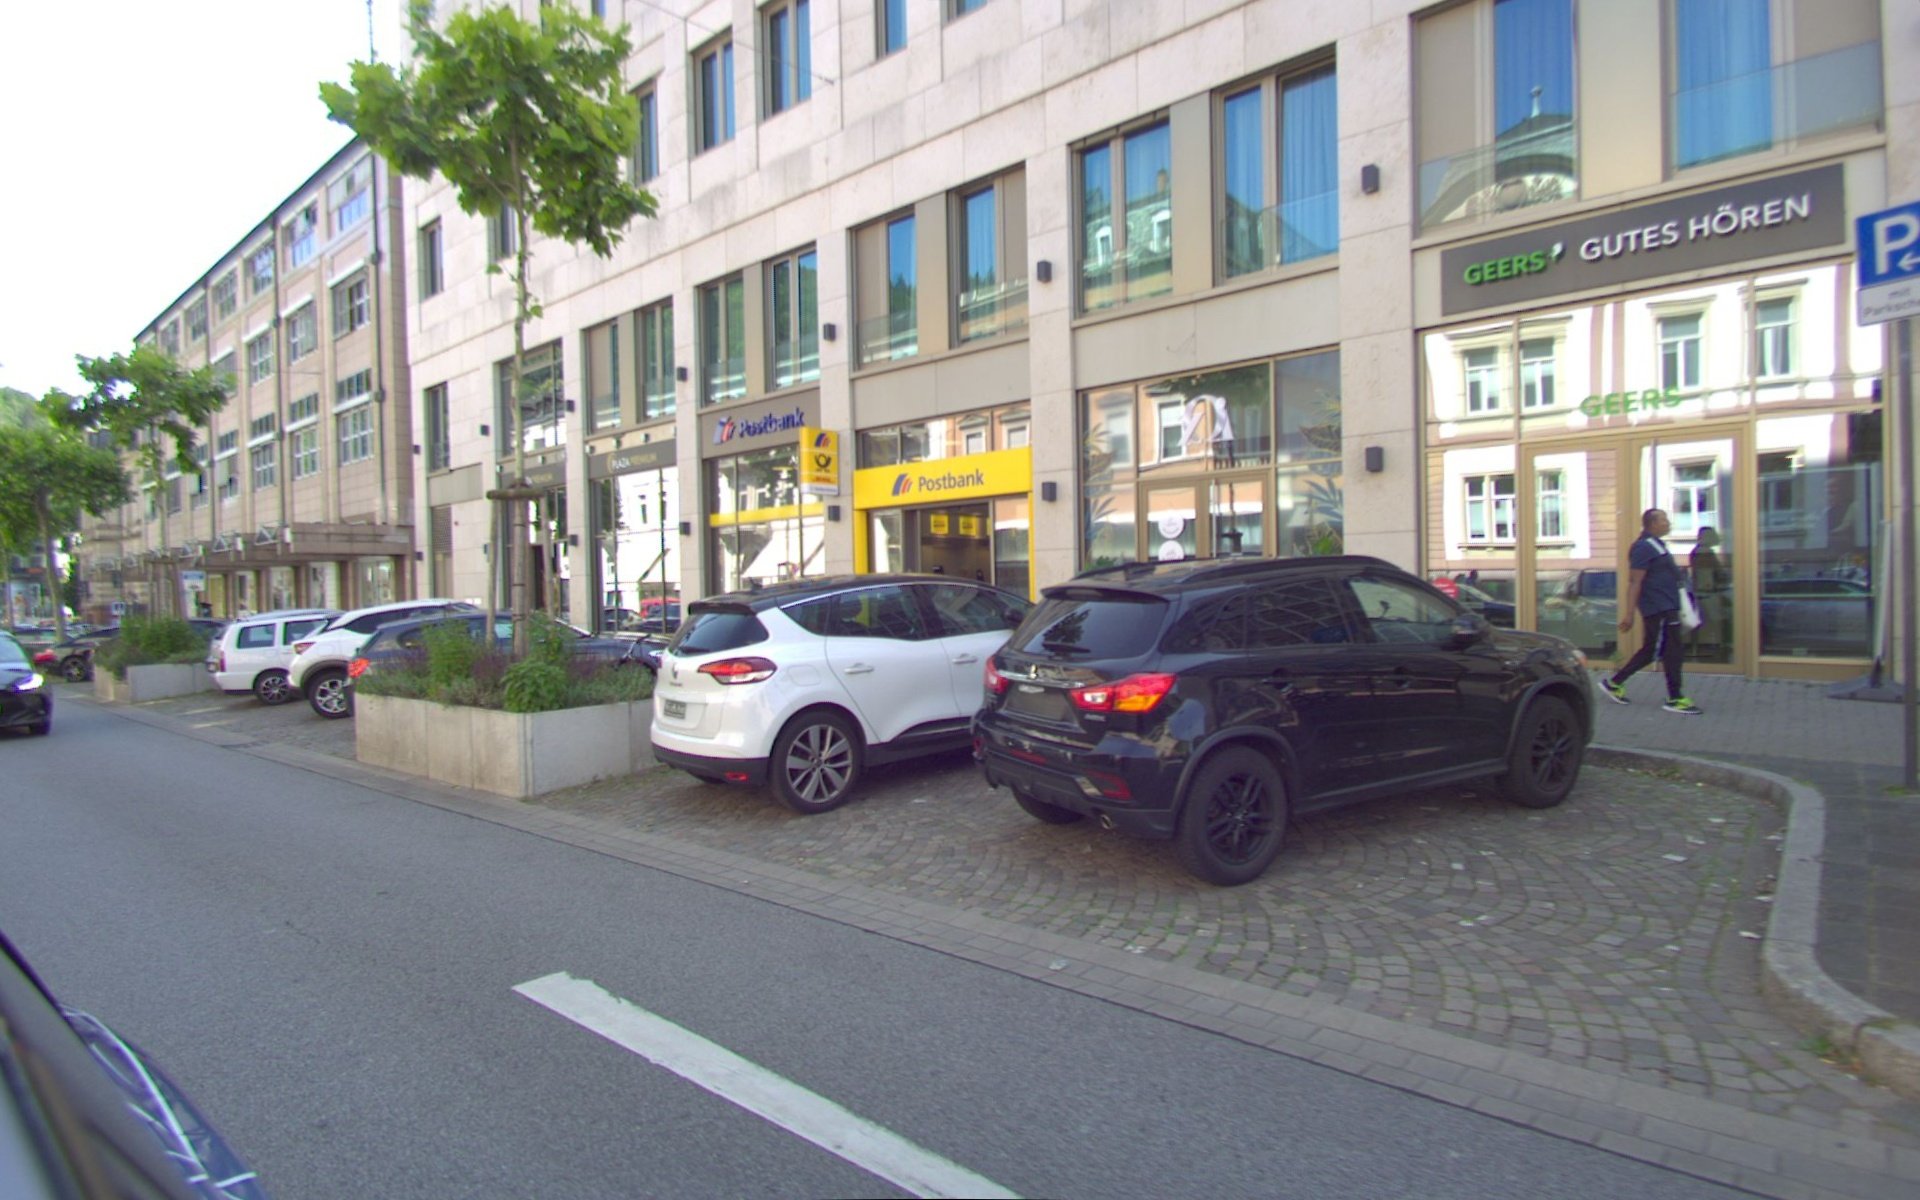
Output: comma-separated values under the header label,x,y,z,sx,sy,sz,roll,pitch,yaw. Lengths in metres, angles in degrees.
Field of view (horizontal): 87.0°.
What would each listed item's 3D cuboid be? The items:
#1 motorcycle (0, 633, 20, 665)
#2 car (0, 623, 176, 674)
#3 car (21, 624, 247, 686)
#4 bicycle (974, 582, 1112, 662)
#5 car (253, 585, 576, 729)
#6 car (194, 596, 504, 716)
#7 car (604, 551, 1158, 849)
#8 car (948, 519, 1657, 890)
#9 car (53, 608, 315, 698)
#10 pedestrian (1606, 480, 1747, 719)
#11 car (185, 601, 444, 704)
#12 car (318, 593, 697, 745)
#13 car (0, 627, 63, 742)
label,x,y,z,sx,sy,sz,roll,pitch,yaw
motorcycle,-43.188,2.161,44.361,3.058,1.361,0.979,-1,-1,-1
car,-31.260,1.699,35.993,5.052,1.645,1.847,-1,-1,-9
car,-22.141,1.448,27.255,4.552,1.457,1.734,-1,-1,-4
bicycle,1.218,0.334,15.283,2.160,1.115,0.490,-2,2,42
car,-8.204,0.788,15.660,3.971,1.604,1.825,-6,4,-15
car,-10.717,0.892,18.108,4.426,1.442,1.869,-7,4,-29
car,-0.514,0.581,8.517,4.107,1.648,2.106,-7,4,-40
car,2.171,0.402,6.415,3.965,1.614,1.965,-4,3,-26
car,-18.112,1.181,23.881,4.455,1.515,1.798,-5,3,-18
pedestrian,6.087,-0.026,8.591,0.844,1.892,0.830,-1,4,42
car,-12.808,0.947,20.267,1.819,1.539,3.947,1,5,40
car,-5.738,0.808,13.408,4.247,1.460,1.792,-5,2,-15
car,-14.272,1.176,14.238,4.102,1.489,1.845,-3,-3,40
